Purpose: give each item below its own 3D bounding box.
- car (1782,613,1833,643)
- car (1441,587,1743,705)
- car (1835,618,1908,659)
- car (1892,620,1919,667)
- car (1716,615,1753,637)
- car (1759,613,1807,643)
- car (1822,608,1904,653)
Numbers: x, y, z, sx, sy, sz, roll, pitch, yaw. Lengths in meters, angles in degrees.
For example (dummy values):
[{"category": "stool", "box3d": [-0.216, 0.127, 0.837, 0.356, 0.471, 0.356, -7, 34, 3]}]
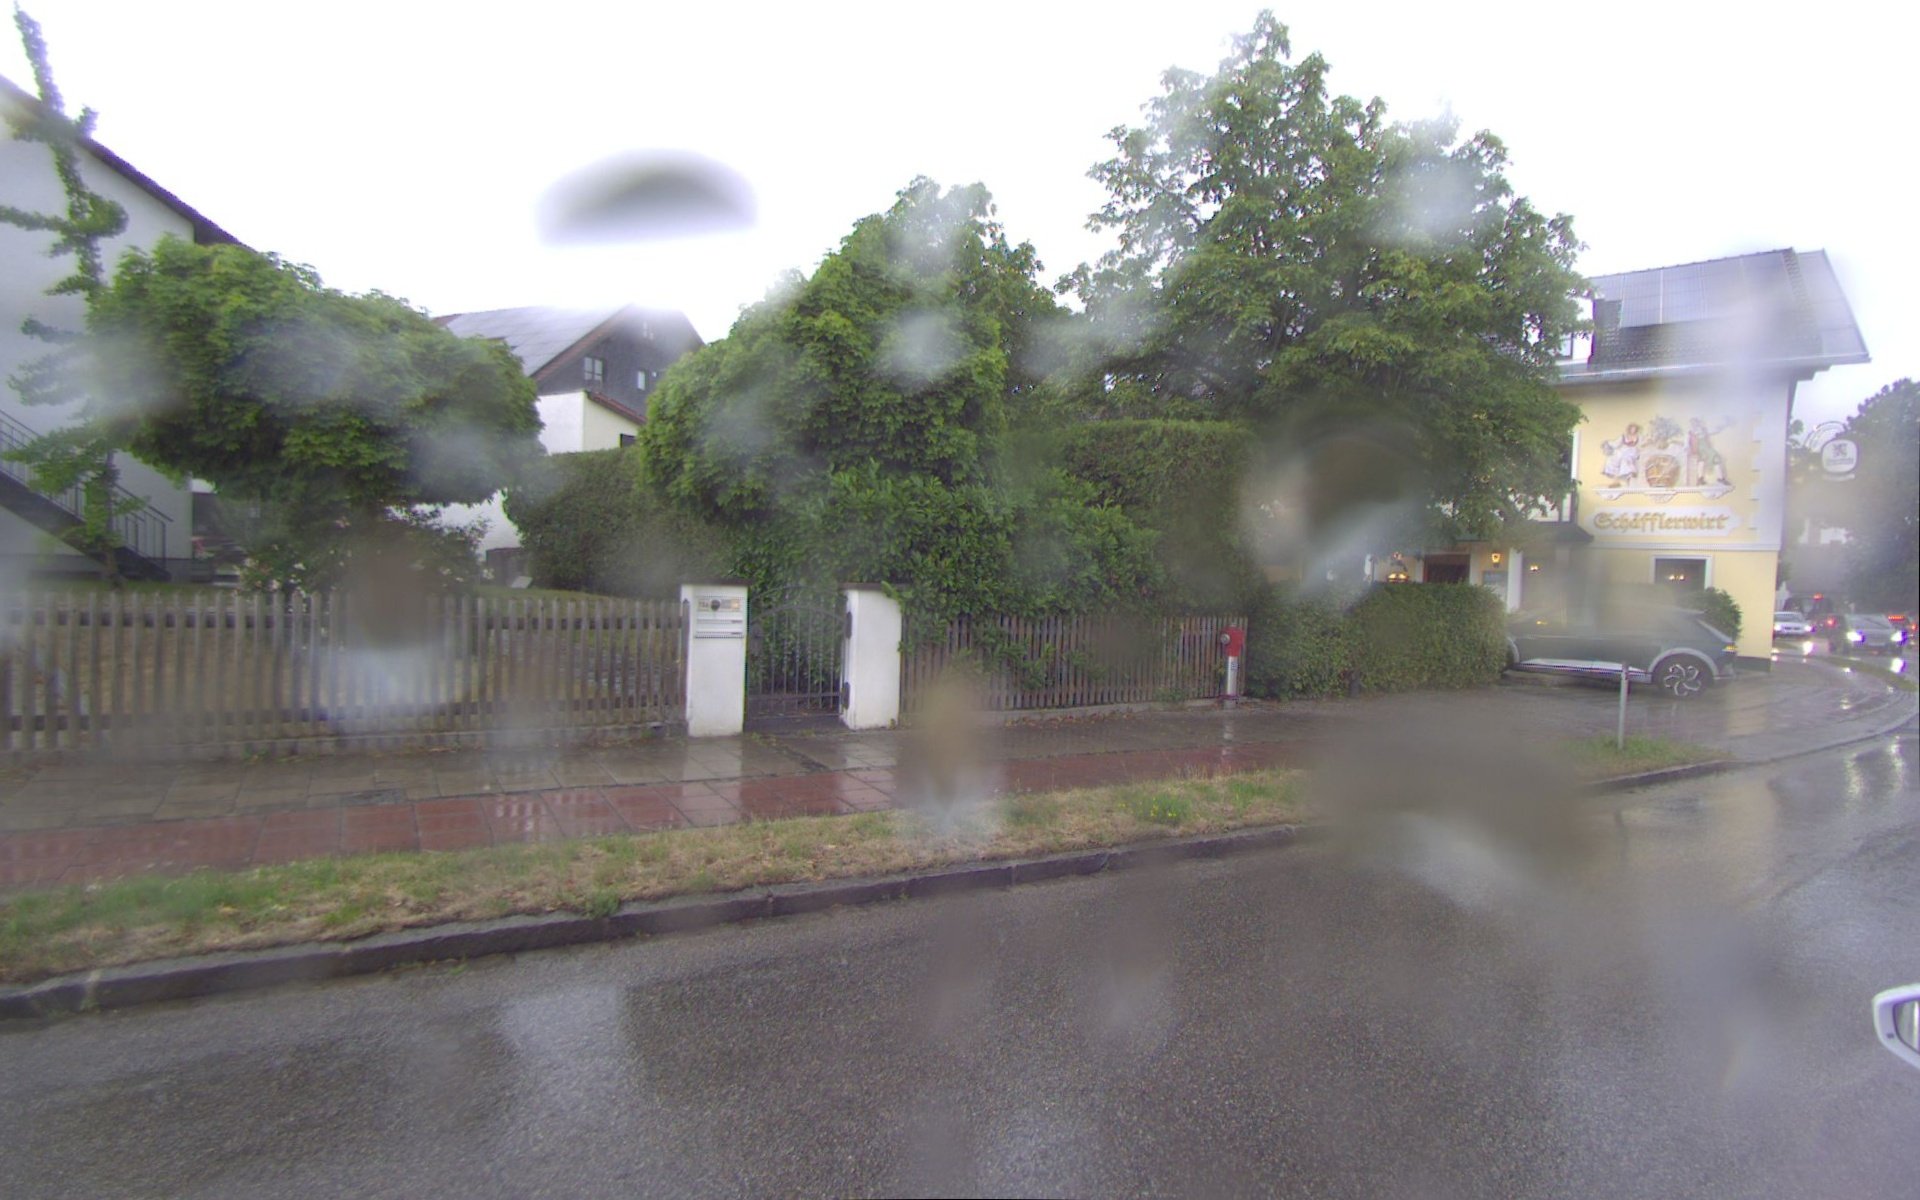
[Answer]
[{"category": "car", "box3d": [61.638, 2.031, 73.123, 2.139, 1.925, 4.999, 3, 2, 34]}, {"category": "car", "box3d": [11.494, 0.743, 18.569, 4.413, 1.589, 1.834, 6, 5, 32]}, {"category": "car", "box3d": [49.789, 2.058, 54.956, 2.139, 1.925, 4.999, 3, 2, 34]}, {"category": "car", "box3d": [44.106, 1.976, 45.309, 2.139, 1.925, 4.999, 3, 2, 34]}, {"category": "car", "box3d": [58.771, 1.980, 76.251, 1.562, 1.631, 3.534, 1, -1, 27]}, {"category": "car", "box3d": [48.454, 1.663, 59.196, 1.729, 1.700, 3.990, 0, -1, 33]}, {"category": "car", "box3d": [37.981, 1.260, 42.350, 1.896, 1.767, 4.181, 0, -1, 33]}]
